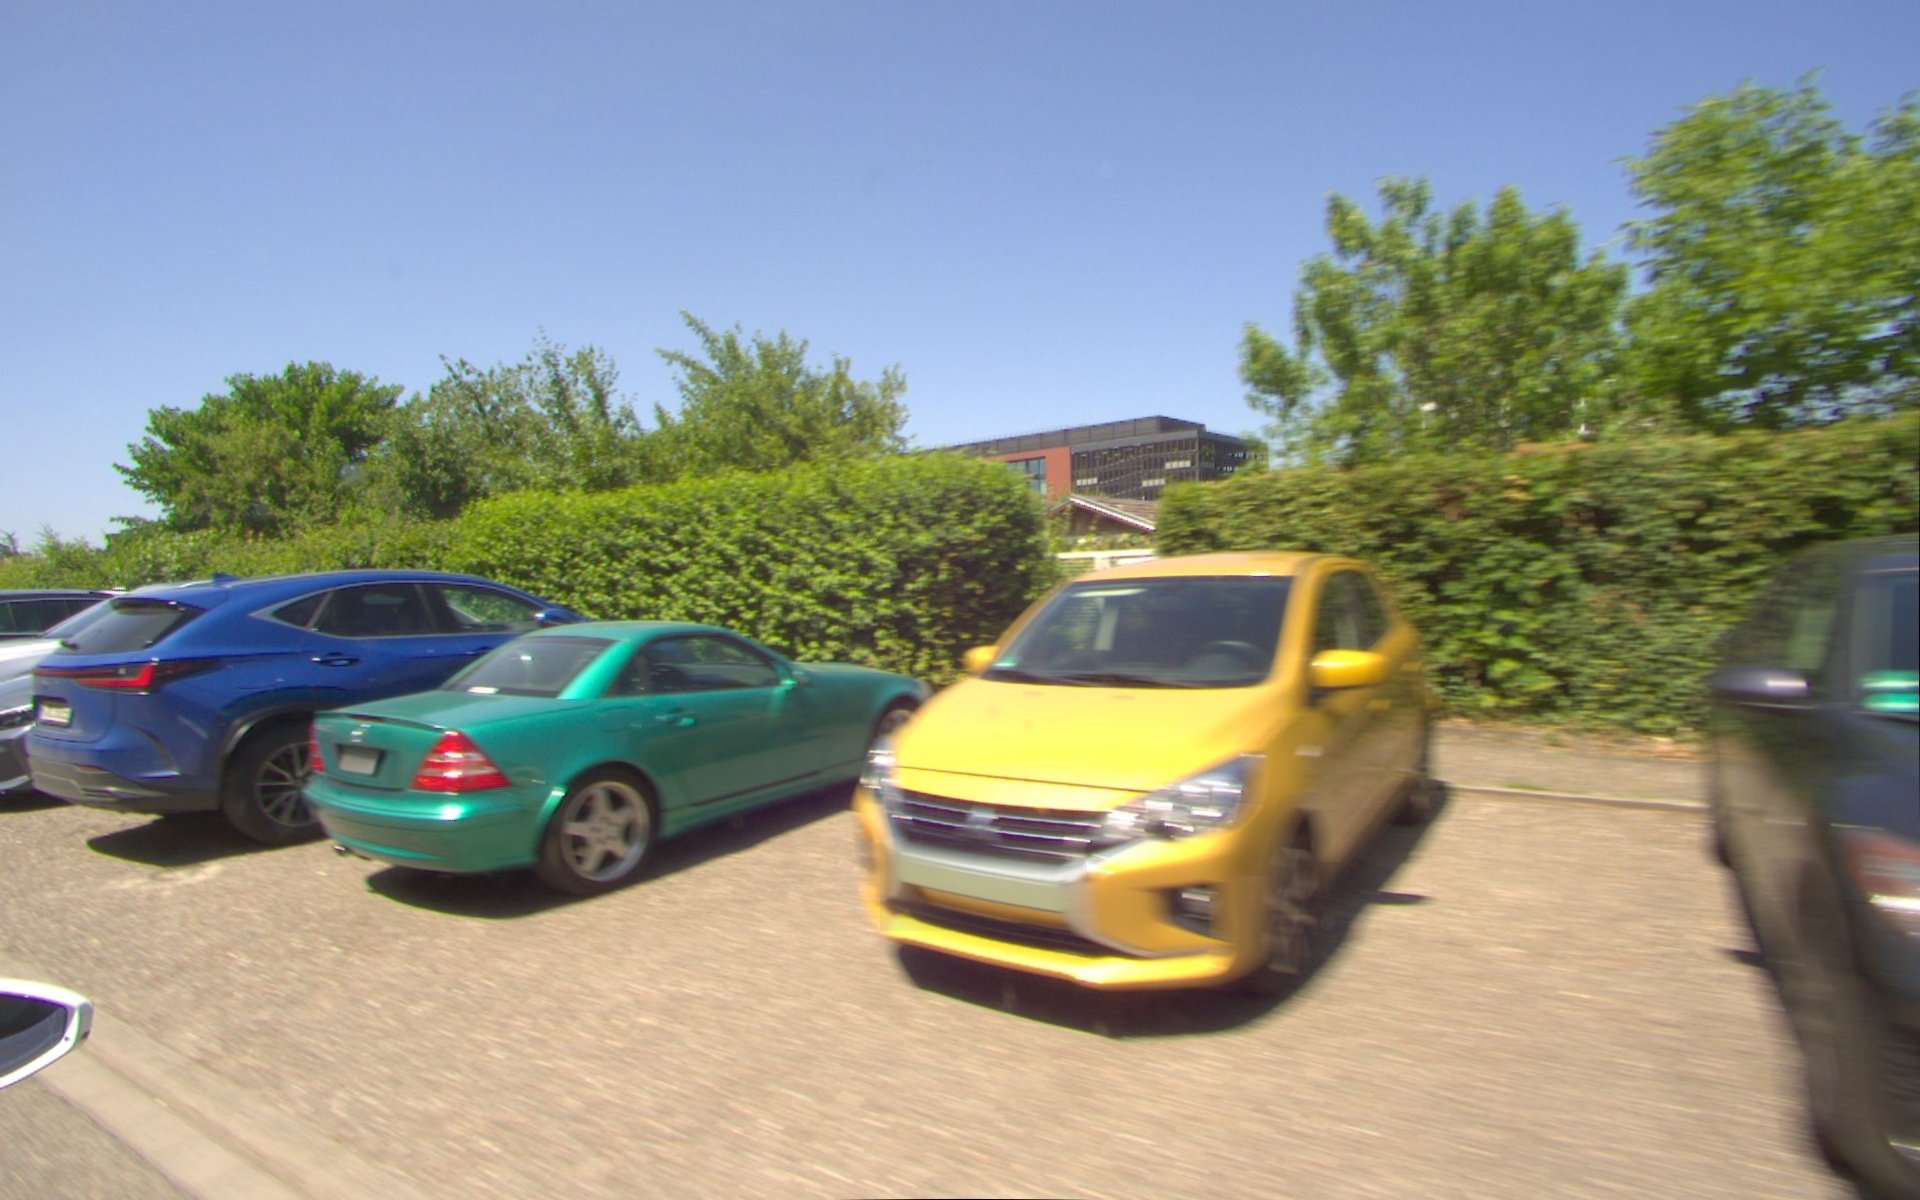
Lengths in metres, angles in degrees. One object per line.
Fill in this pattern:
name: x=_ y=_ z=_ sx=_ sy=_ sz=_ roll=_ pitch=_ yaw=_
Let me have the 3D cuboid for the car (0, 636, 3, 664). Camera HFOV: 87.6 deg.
car: x=-24.687 y=0.858 z=22.647 sx=1.786 sy=1.692 sz=3.948 roll=-1 pitch=4 yaw=28

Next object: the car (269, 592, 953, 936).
car: x=-1.770 y=0.686 z=6.172 sx=1.605 sy=1.286 sz=3.722 roll=-1 pitch=2 yaw=34

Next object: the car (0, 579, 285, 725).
car: x=-11.935 y=0.643 z=13.606 sx=1.861 sy=1.680 sz=4.112 roll=0 pitch=3 yaw=34

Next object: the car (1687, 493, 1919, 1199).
car: x=3.338 y=0.458 z=2.830 sx=1.856 sy=1.516 sz=4.150 roll=-1 pitch=3 yaw=33

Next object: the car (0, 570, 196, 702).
car: x=-14.335 y=0.594 z=14.766 sx=1.850 sy=1.722 sz=4.391 roll=-1 pitch=5 yaw=31

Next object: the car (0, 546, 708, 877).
car: x=-4.135 y=0.504 z=7.500 sx=1.797 sy=1.657 sz=4.225 roll=0 pitch=4 yaw=32

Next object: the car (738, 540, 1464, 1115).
car: x=1.036 y=0.515 z=4.630 sx=1.751 sy=1.475 sz=3.787 roll=-1 pitch=3 yaw=36

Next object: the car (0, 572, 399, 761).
car: x=-8.831 y=0.599 z=11.001 sx=1.872 sy=1.676 sz=4.225 roll=-1 pitch=2 yaw=32

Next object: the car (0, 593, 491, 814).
car: x=-6.715 y=0.727 z=9.227 sx=1.785 sy=1.458 sz=4.128 roll=-1 pitch=1 yaw=25

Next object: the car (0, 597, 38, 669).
car: x=-22.329 y=0.850 z=21.110 sx=1.791 sy=1.501 sz=3.937 roll=0 pitch=4 yaw=38
